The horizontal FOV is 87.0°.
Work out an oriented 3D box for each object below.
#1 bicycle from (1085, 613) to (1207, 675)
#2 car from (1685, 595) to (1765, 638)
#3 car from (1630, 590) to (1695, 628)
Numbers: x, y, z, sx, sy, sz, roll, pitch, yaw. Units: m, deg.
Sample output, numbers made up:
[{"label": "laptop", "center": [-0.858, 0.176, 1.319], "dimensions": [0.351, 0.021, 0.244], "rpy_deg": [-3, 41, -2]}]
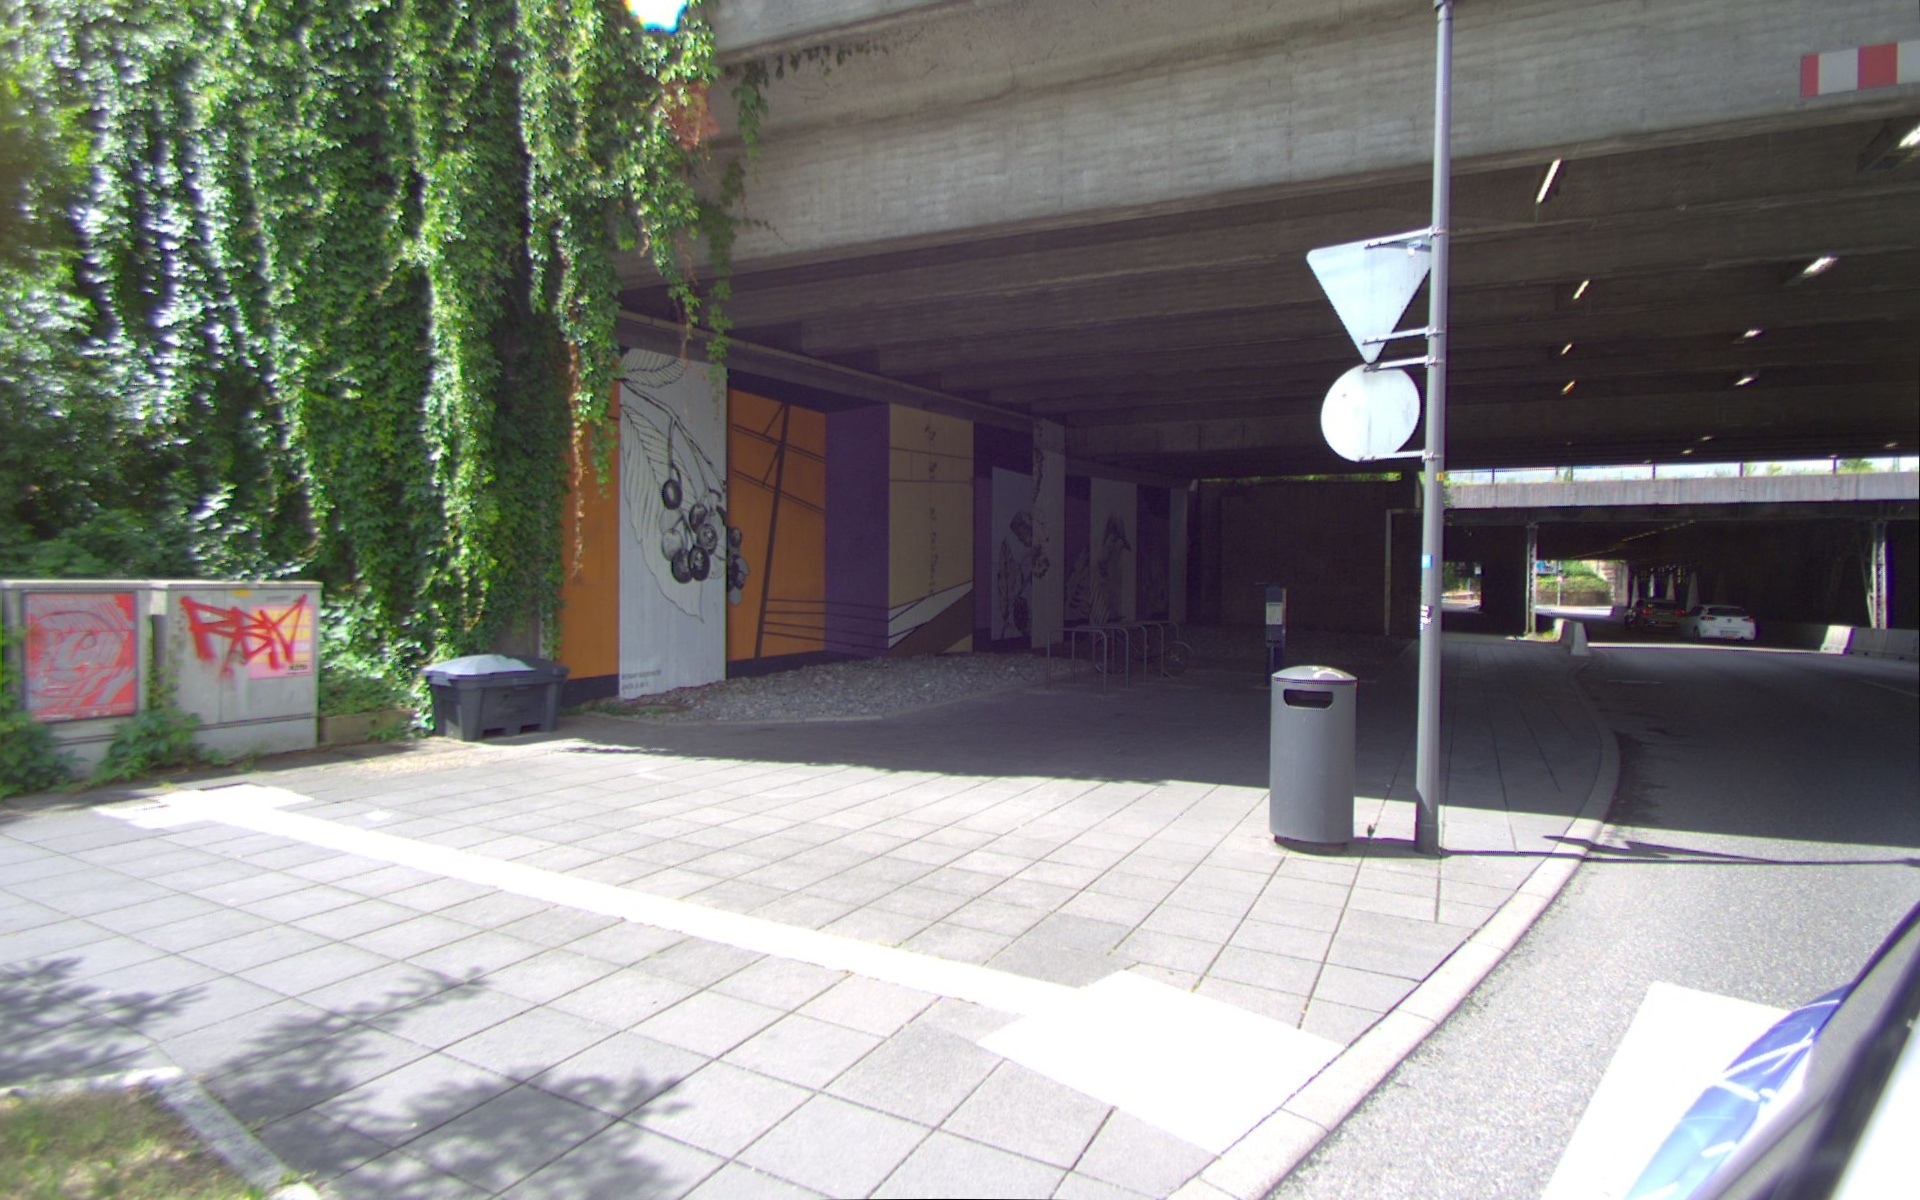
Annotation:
[{"label": "bicycle", "center": [3.092, 0.713, 16.897], "dimensions": [1.932, 0.915, 0.502], "rpy_deg": [2, 2, 27]}, {"label": "car", "center": [28.060, 0.564, 37.229], "dimensions": [1.661, 1.465, 3.815], "rpy_deg": [2, 1, 27]}, {"label": "car", "center": [32.831, 0.375, 47.406], "dimensions": [1.813, 1.674, 4.176], "rpy_deg": [2, 1, 26]}]
